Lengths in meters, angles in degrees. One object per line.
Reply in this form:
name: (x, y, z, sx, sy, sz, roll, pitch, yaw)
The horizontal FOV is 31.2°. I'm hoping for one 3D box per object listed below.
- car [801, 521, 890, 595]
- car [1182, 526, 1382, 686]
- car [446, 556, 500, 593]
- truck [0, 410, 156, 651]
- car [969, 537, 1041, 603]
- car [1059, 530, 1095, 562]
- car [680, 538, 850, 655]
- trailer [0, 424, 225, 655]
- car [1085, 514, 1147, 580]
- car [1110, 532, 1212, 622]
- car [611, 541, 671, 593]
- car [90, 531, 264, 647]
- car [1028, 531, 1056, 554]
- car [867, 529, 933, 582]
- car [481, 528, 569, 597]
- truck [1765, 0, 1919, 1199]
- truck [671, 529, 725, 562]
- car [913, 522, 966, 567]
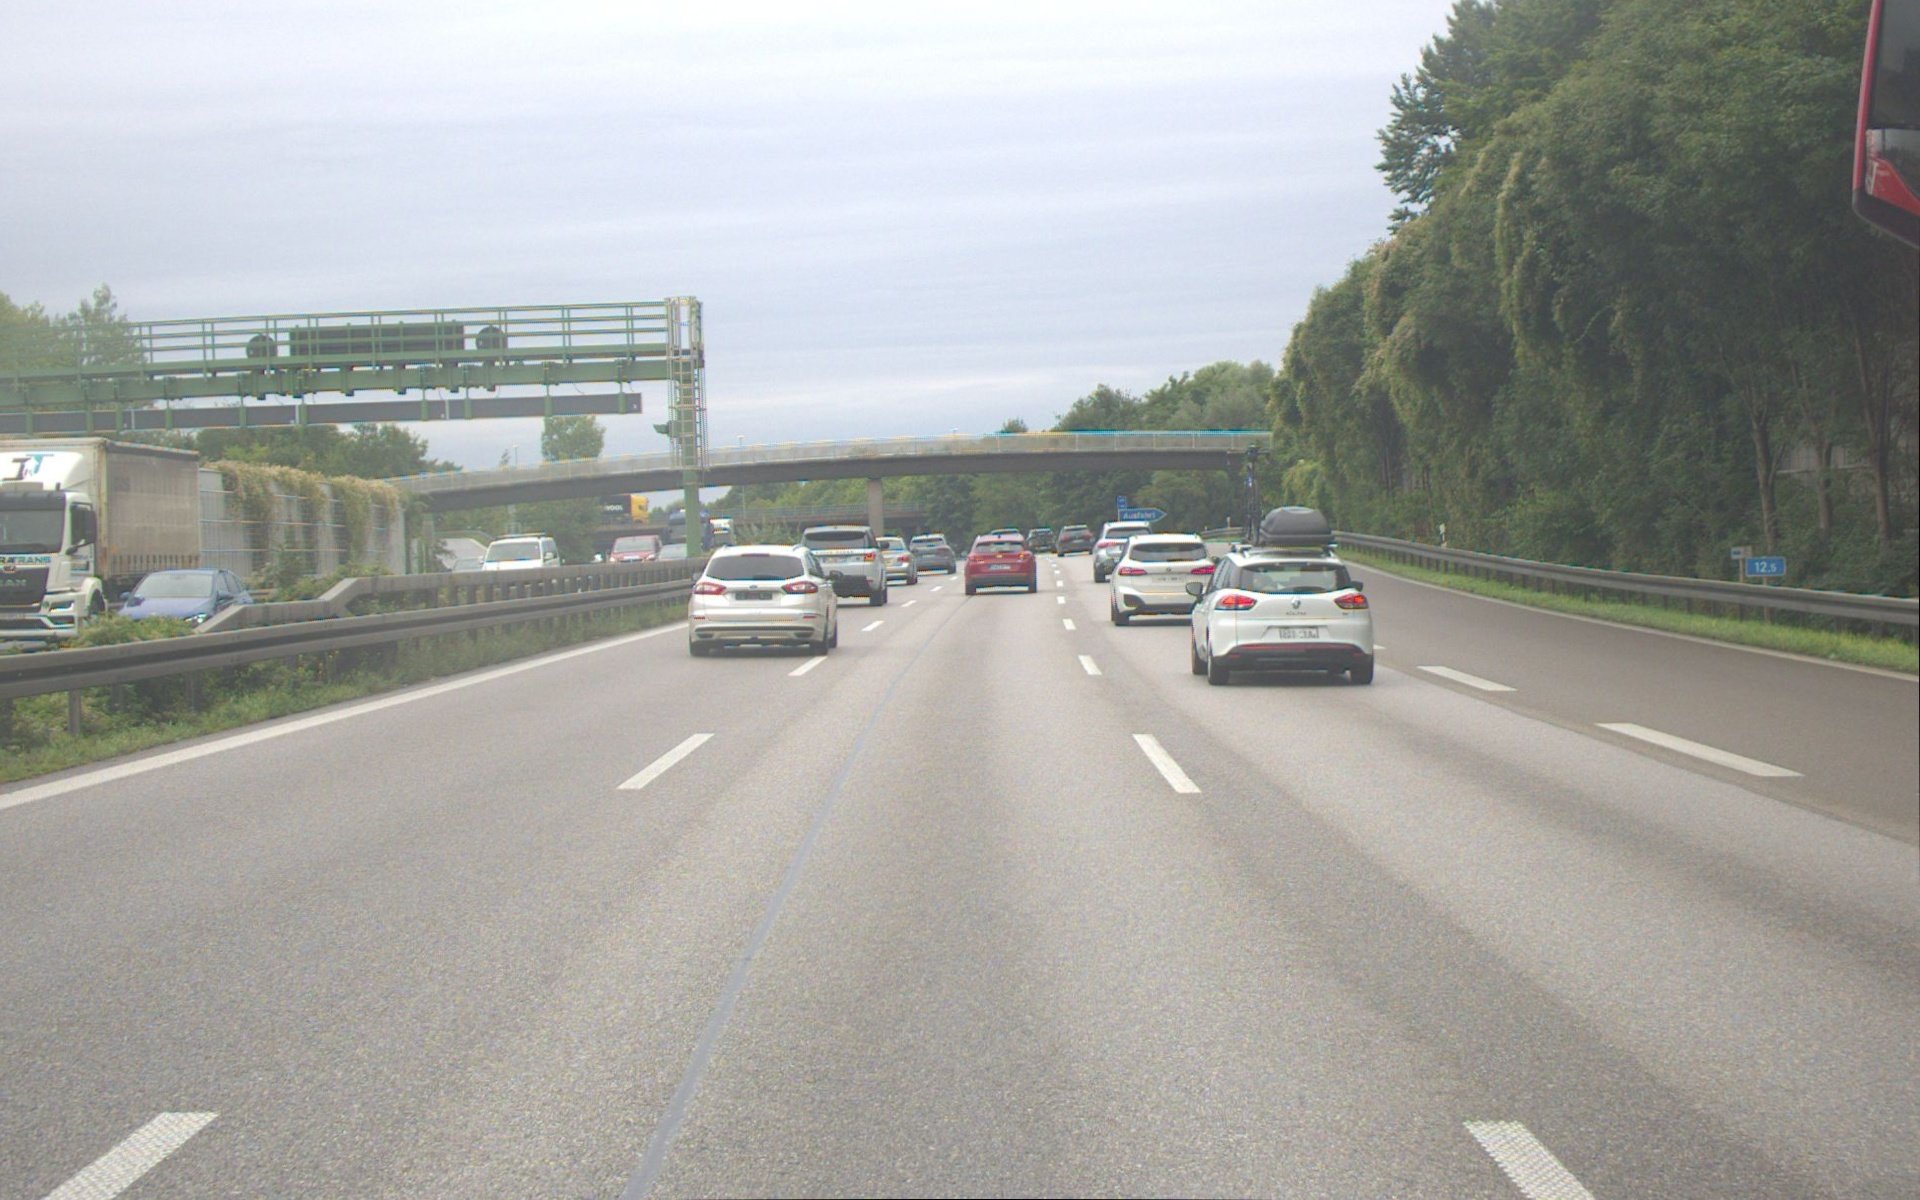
car: (-2.506, -0.944, 76.116, 1.689, 1.501, 3.871, 4, 1, 1)
car: (3.432, 0.055, 37.437, 1.816, 1.620, 5.030, 0, 0, 1)
car: (-21.166, -1.100, 149.523, 1.791, 1.612, 4.000, 0, 0, 0)
truck: (-17.545, -1.314, 66.377, 2.649, 4.458, 5.283, -1, 1, 1)
car: (1.106, -0.776, 86.144, 1.689, 1.501, 3.871, 4, 1, 0)
car: (5.577, -2.570, 163.672, 1.689, 1.534, 3.871, 0, 1, 2)
car: (-2.596, -0.063, 46.905, 1.892, 1.499, 5.030, 0, 0, 2)
trailer: (-17.477, -1.234, 70.713, 2.668, 4.429, 8.573, -1, 1, 1)
car: (4.296, -1.466, 94.748, 1.689, 1.773, 3.871, 0, 1, 2)
car: (3.438, -0.388, 59.280, 1.689, 1.501, 3.871, 0, 0, 3)
car: (-12.669, -1.298, 136.551, 1.993, 2.007, 4.000, 0, 0, 0)
car: (-14.015, -0.194, 61.814, 1.993, 2.007, 4.909, 0, 0, 0)
car: (5.099, -3.585, 214.100, 1.689, 1.417, 4.072, 0, 1, 1)
car: (-1.792, -1.361, 103.838, 1.689, 1.501, 3.871, -2, 1, 2)
car: (-13.061, -1.104, 103.412, 1.993, 2.007, 4.909, 0, 0, 0)
truck: (3.611, -0.489, 6.157, 2.695, 3.899, 6.557, 0, 1, -1)
truck: (-15.534, -3.249, 204.366, 2.585, 1.803, 5.971, 4, 1, 0)
car: (-0.737, -2.037, 125.774, 1.689, 1.501, 3.871, 4, 1, 2)
